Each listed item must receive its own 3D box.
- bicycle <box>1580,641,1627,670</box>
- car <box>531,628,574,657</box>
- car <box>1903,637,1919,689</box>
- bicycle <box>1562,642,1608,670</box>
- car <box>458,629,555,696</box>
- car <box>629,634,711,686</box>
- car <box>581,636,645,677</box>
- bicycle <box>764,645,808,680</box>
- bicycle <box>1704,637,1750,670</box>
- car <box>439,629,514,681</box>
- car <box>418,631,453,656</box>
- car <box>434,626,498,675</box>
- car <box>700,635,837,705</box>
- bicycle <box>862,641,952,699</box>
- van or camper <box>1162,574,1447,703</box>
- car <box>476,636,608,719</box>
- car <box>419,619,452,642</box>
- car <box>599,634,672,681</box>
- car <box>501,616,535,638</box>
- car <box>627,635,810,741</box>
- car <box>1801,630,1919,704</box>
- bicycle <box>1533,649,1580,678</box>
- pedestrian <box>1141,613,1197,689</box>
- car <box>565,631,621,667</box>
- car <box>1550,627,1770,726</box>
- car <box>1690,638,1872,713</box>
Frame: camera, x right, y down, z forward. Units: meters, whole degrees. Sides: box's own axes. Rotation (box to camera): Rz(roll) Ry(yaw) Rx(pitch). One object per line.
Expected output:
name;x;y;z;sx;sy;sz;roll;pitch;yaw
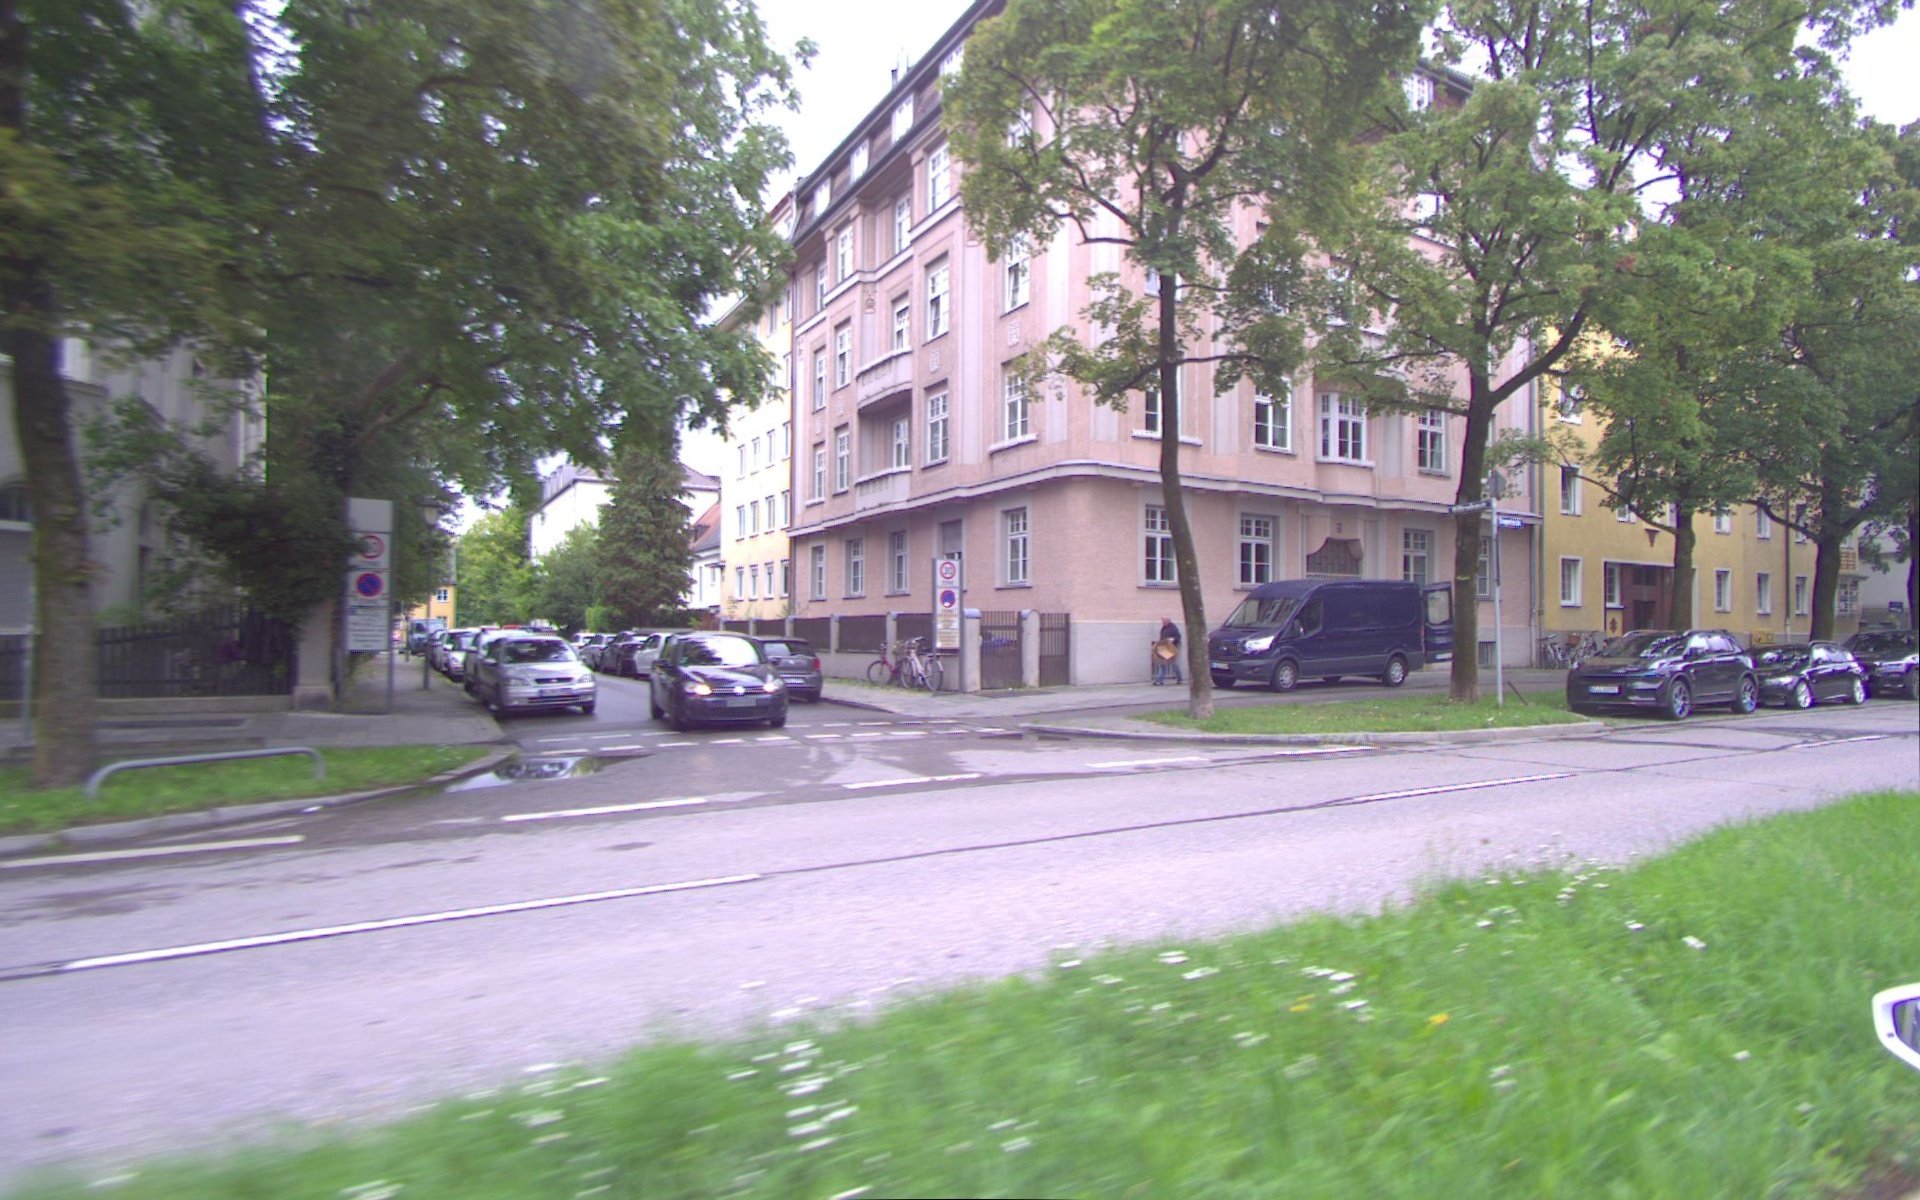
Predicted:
bicycle;21.525;1.843;33.588;1.908;0.911;0.539;1;-1;-31
car;-21.899;2.253;53.931;1.636;1.469;3.498;1;-1;-31
car;28.305;1.749;28.067;4.312;1.424;1.718;1;-1;-30
bicycle;21.230;1.883;34.109;1.908;0.911;0.539;1;-1;-31
car;-11.541;1.506;25.414;1.775;1.504;3.967;1;-1;-31
car;-9.056;1.813;31.190;1.595;1.469;3.498;1;-1;-31
car;-13.539;2.151;39.089;1.636;1.469;3.498;1;-1;-31
bicycle;-5.207;1.858;29.977;0.514;0.967;1.866;1;-1;-37
bicycle;29.440;2.028;38.542;1.908;1.238;0.766;1;-1;-31
car;-15.412;1.693;31.941;1.775;1.504;3.967;1;-1;-31
car;-33.375;2.756;63.880;1.775;1.504;3.967;1;-1;-31
car;-18.076;1.787;36.659;1.775;1.669;3.967;1;-1;-31
car;-4.418;1.526;22.803;1.891;1.389;3.678;1;-1;-31
bicycle;-1.300;1.587;23.594;0.513;1.191;3.530;1;-1;-31
van or camper;7.996;0.748;23.008;6.770;2.614;2.334;0;1;-31
car;-8.086;1.399;19.248;1.775;1.339;3.967;1;-1;-31
car;-35.491;2.019;67.945;1.775;1.504;3.967;1;-1;-31
car;-11.243;1.933;34.678;1.636;1.469;3.498;1;-1;-31
car;-29.433;1.793;66.868;1.636;1.469;3.498;1;-1;-31
car;-4.022;1.307;16.258;1.840;1.394;3.968;0;-1;-30
car;23.170;1.603;25.078;4.714;1.667;1.870;1;-1;-30
bicycle;19.604;2.079;33.010;1.908;0.911;0.481;1;-1;-31
pedestrian;4.878;1.172;23.458;1.070;1.733;0.745;1;-1;-30
car;-15.917;2.087;43.454;1.636;1.469;3.498;1;-1;-31
car;13.645;1.401;19.540;4.386;1.709;1.865;1;-1;-30
car;18.143;1.591;22.151;4.440;1.474;1.684;1;-1;-30
